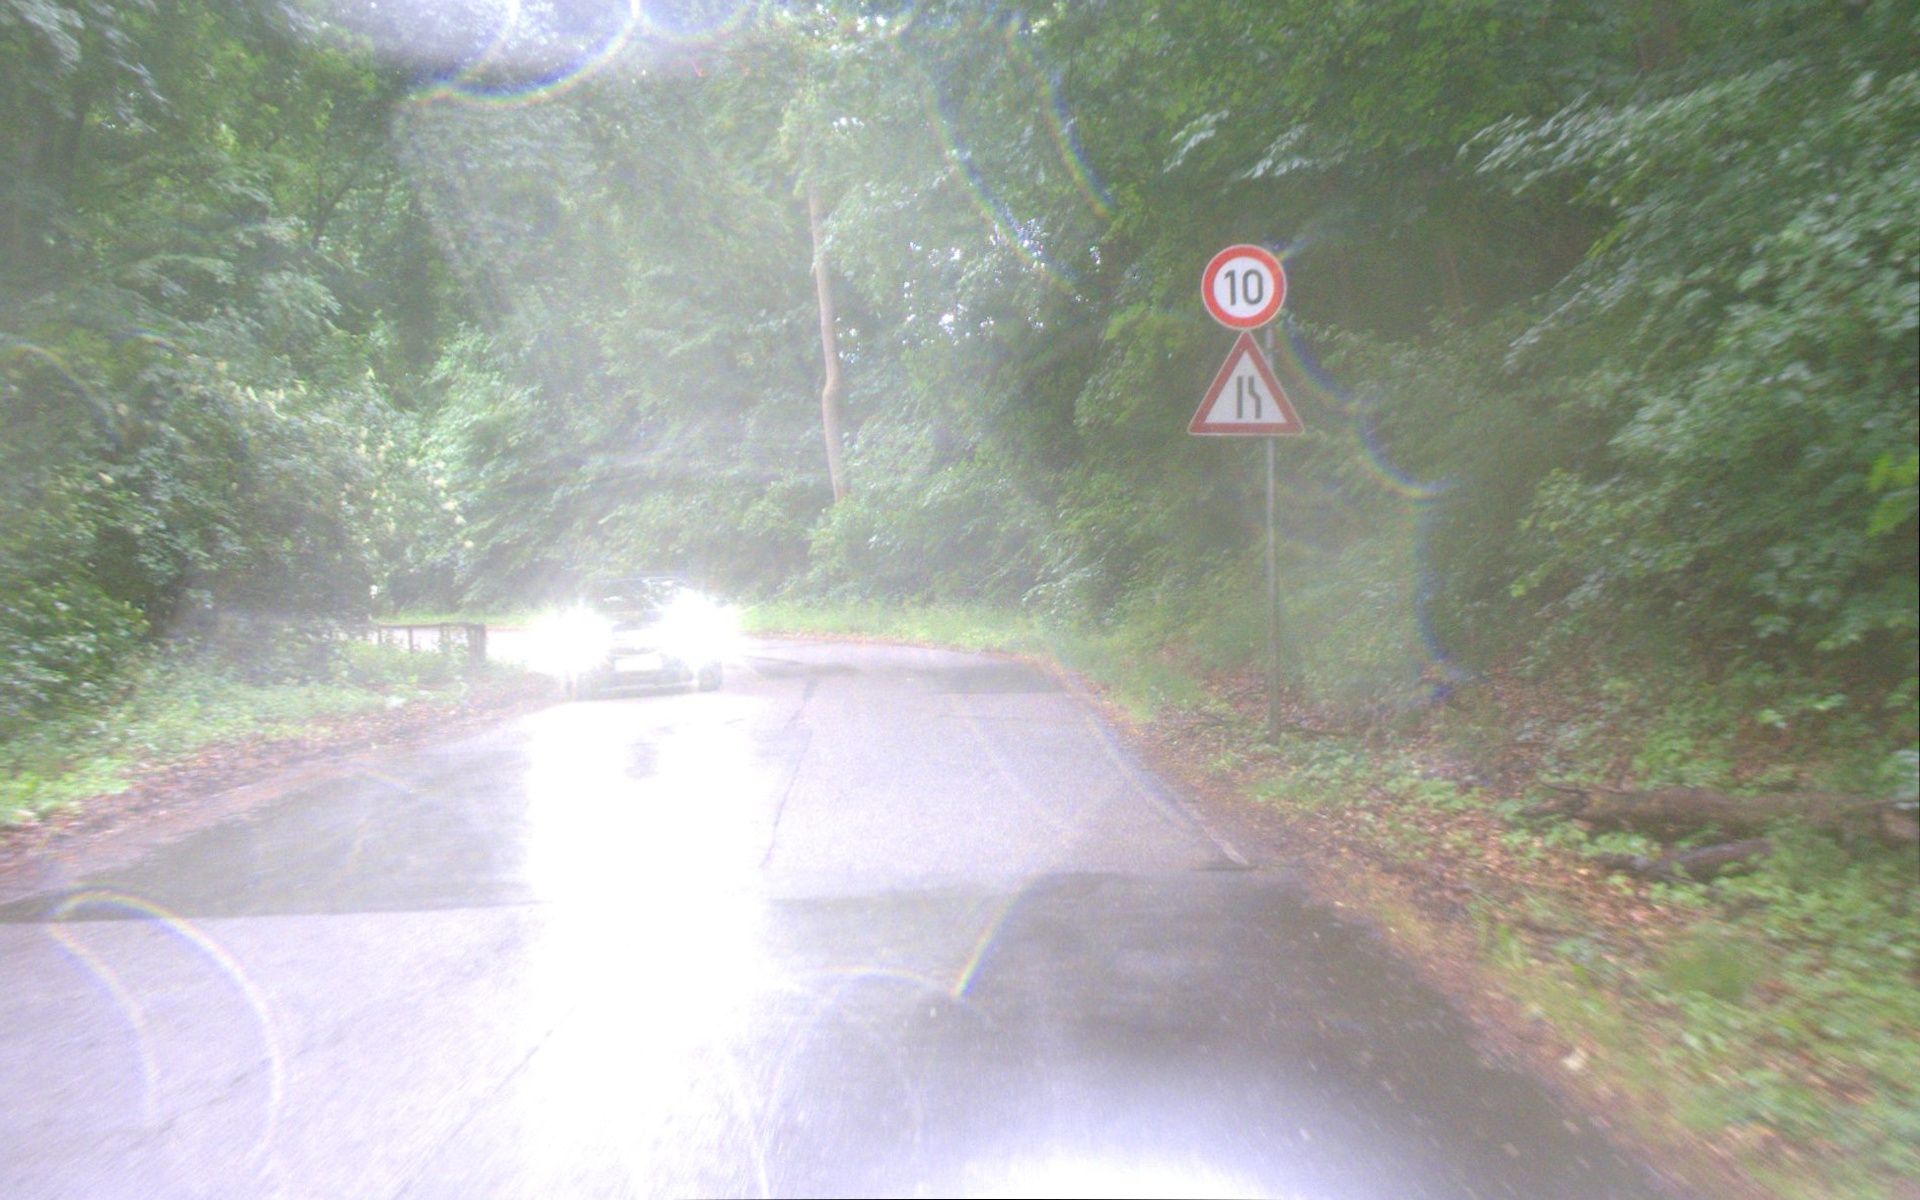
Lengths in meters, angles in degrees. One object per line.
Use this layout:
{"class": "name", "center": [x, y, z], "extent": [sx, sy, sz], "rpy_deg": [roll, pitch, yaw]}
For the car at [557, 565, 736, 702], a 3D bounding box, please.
{"class": "car", "center": [-3.687, 0.363, 40.992], "extent": [1.714, 1.470, 3.891], "rpy_deg": [-3, 0, 0]}
